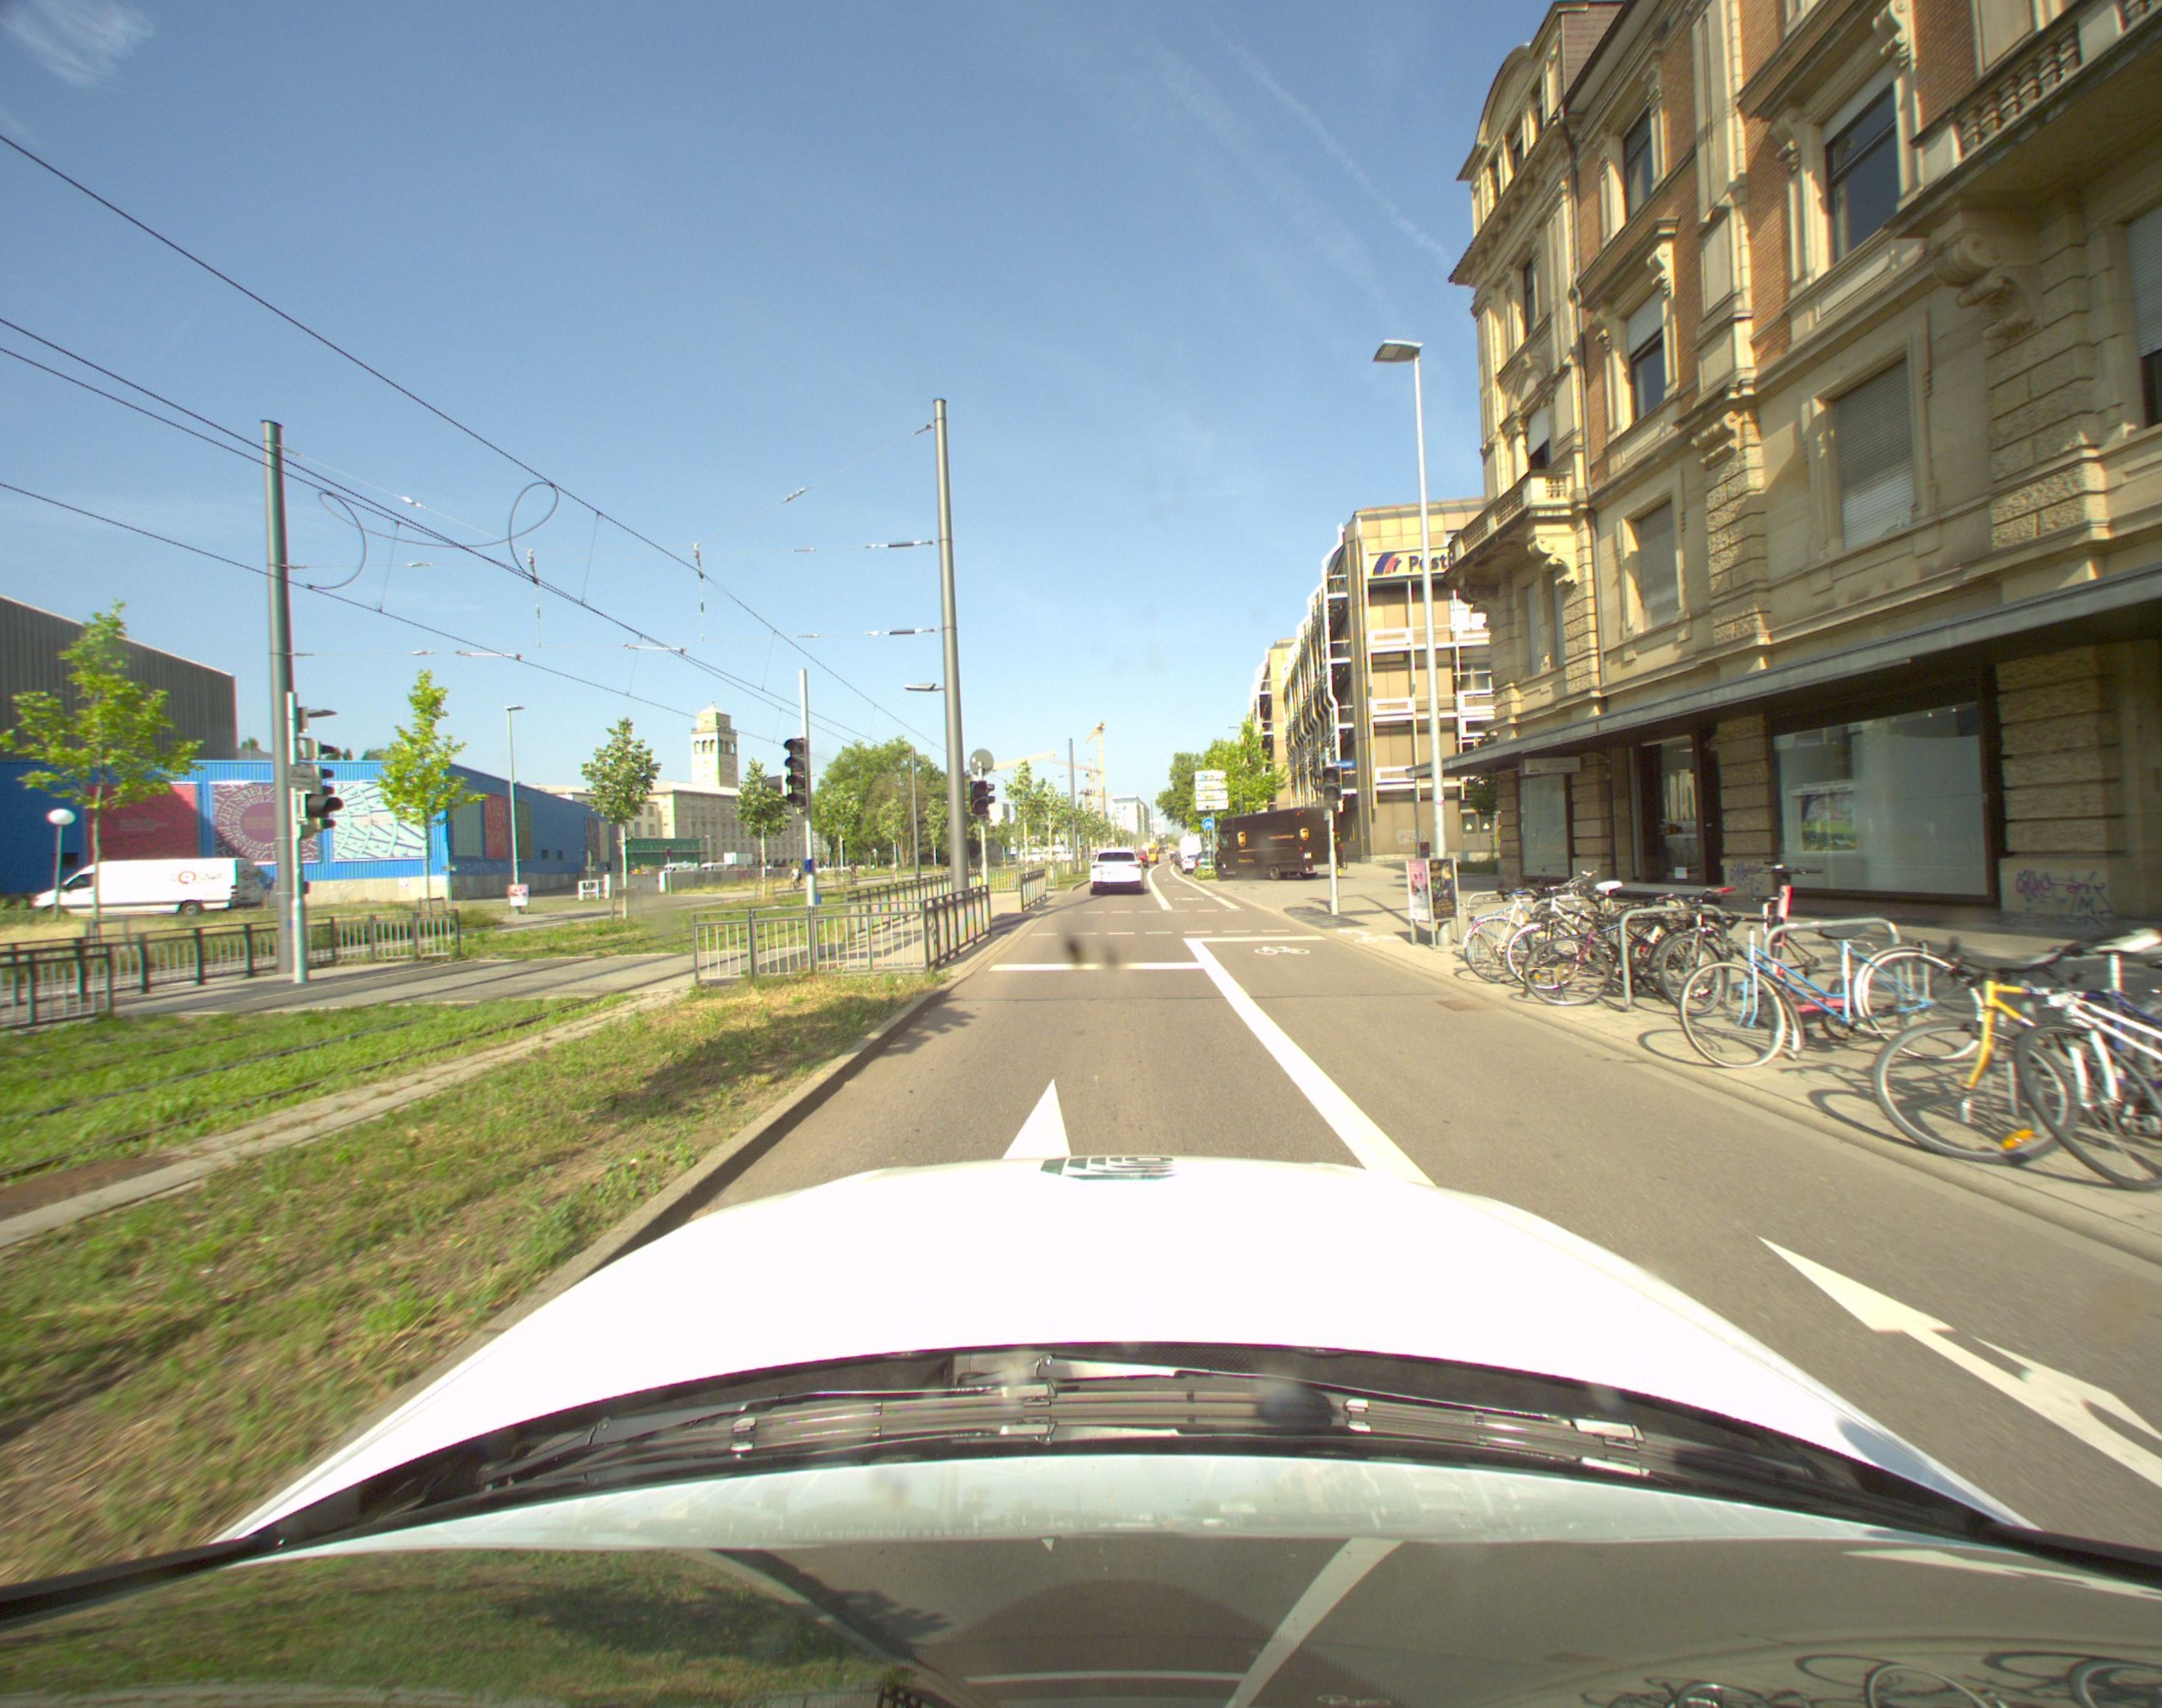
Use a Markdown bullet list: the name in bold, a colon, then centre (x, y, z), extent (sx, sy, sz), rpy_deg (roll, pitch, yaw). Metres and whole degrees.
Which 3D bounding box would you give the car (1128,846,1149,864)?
- **car**: centre (5.756, 0.105, 81.055), extent (1.984, 1.684, 4.375), rpy_deg (-2, 0, 5)

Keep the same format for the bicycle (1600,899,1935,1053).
- **bicycle**: centre (4.806, 0.841, 5.757), extent (1.928, 0.874, 0.441), rpy_deg (-5, 0, 1)

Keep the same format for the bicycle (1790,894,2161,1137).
- **bicycle**: centre (4.799, 0.782, 4.113), extent (1.948, 0.986, 0.471), rpy_deg (-5, 0, 1)

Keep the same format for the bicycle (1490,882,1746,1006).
- **bicycle**: centre (4.846, 0.805, 7.414), extent (1.926, 0.945, 0.441), rpy_deg (-5, 0, 3)

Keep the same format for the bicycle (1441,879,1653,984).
- **bicycle**: centre (4.955, 0.817, 8.725), extent (1.926, 0.945, 0.429), rpy_deg (-5, 0, 3)

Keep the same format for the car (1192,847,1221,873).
- **car**: centre (7.824, 0.366, 51.135), extent (1.641, 1.499, 3.533), rpy_deg (-2, 0, 7)

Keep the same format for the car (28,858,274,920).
- **car**: centre (-41.816, 1.495, 36.957), extent (6.901, 2.638, 2.496), rpy_deg (0, -1, -22)

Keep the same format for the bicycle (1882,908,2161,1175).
- **bicycle**: centre (4.811, 0.775, 3.633), extent (1.928, 0.986, 0.471), rpy_deg (-5, 0, 1)

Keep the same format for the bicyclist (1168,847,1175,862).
- **bicyclist**: centre (11.395, 0.047, 102.244), extent (0.706, 1.895, 0.843), rpy_deg (-2, 0, 1)

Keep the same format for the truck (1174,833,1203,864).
- **truck**: centre (9.088, -0.445, 69.234), extent (1.986, 2.508, 4.002), rpy_deg (-2, 0, 2)

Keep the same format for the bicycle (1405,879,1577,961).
- **bicycle**: centre (5.160, 0.827, 10.302), extent (1.878, 0.863, 0.429), rpy_deg (-5, 0, 3)

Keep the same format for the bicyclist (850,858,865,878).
- **bicyclist**: centre (-17.465, 1.104, 63.675), extent (0.693, 1.516, 1.187), rpy_deg (-2, 0, 2)

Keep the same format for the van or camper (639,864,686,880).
- **van or camper**: centre (-62.038, 2.667, 120.891), extent (2.538, 2.085, 6.463), rpy_deg (-2, 0, 14)

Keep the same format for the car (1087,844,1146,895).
- **car**: centre (1.177, 0.508, 28.835), extent (1.811, 1.590, 4.405), rpy_deg (-2, 0, 0)

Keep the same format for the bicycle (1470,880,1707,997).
- **bicycle**: centre (4.878, 0.809, 7.893), extent (1.926, 0.945, 0.441), rpy_deg (-5, 0, 3)

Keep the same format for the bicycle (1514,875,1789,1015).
- **bicycle**: centre (4.830, 0.764, 6.966), extent (1.926, 1.013, 0.441), rpy_deg (-5, 0, 3)

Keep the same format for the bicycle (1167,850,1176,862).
- **bicycle**: centre (11.403, 0.215, 102.553), extent (0.779, 1.496, 2.801), rpy_deg (-2, 0, 1)

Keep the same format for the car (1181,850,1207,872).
- **car**: centre (7.701, 0.468, 55.598), extent (1.641, 1.385, 3.533), rpy_deg (-2, 0, 7)

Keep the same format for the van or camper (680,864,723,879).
- **van or camper**: centre (-59.690, 2.722, 128.230), extent (2.538, 2.085, 6.463), rpy_deg (-2, 0, 14)

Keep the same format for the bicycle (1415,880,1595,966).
- **bicycle**: centre (5.104, 0.823, 9.860), extent (1.878, 0.863, 0.429), rpy_deg (-5, 0, 3)

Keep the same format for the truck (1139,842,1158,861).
- **truck**: centre (8.891, -0.337, 107.479), extent (2.204, 2.318, 5.892), rpy_deg (-2, 0, 2)

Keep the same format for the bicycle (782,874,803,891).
- **bicycle**: centre (-18.238, 1.799, 51.549), extent (0.536, 0.958, 1.919), rpy_deg (-2, 0, 4)

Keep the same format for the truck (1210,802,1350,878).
- **truck**: centre (8.726, -0.551, 36.676), extent (2.520, 3.011, 6.908), rpy_deg (-2, 0, -22)

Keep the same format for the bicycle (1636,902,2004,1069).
- **bicycle**: centre (4.769, 0.837, 5.313), extent (1.928, 0.874, 0.441), rpy_deg (-5, 0, 1)

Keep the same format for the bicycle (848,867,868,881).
- **bicycle**: centre (-17.436, 1.579, 63.765), extent (0.693, 0.990, 2.826), rpy_deg (-2, 0, 2)

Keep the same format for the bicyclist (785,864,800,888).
- **bicyclist**: centre (-18.242, 1.379, 51.541), extent (0.536, 1.422, 0.901), rpy_deg (-2, 0, 3)

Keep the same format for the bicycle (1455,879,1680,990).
- **bicycle**: centre (4.909, 0.813, 8.282), extent (1.926, 0.945, 0.429), rpy_deg (-5, 0, 3)

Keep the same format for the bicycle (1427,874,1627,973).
- **bicycle**: centre (4.995, 0.776, 9.190), extent (1.926, 0.945, 0.429), rpy_deg (-5, 0, 3)
